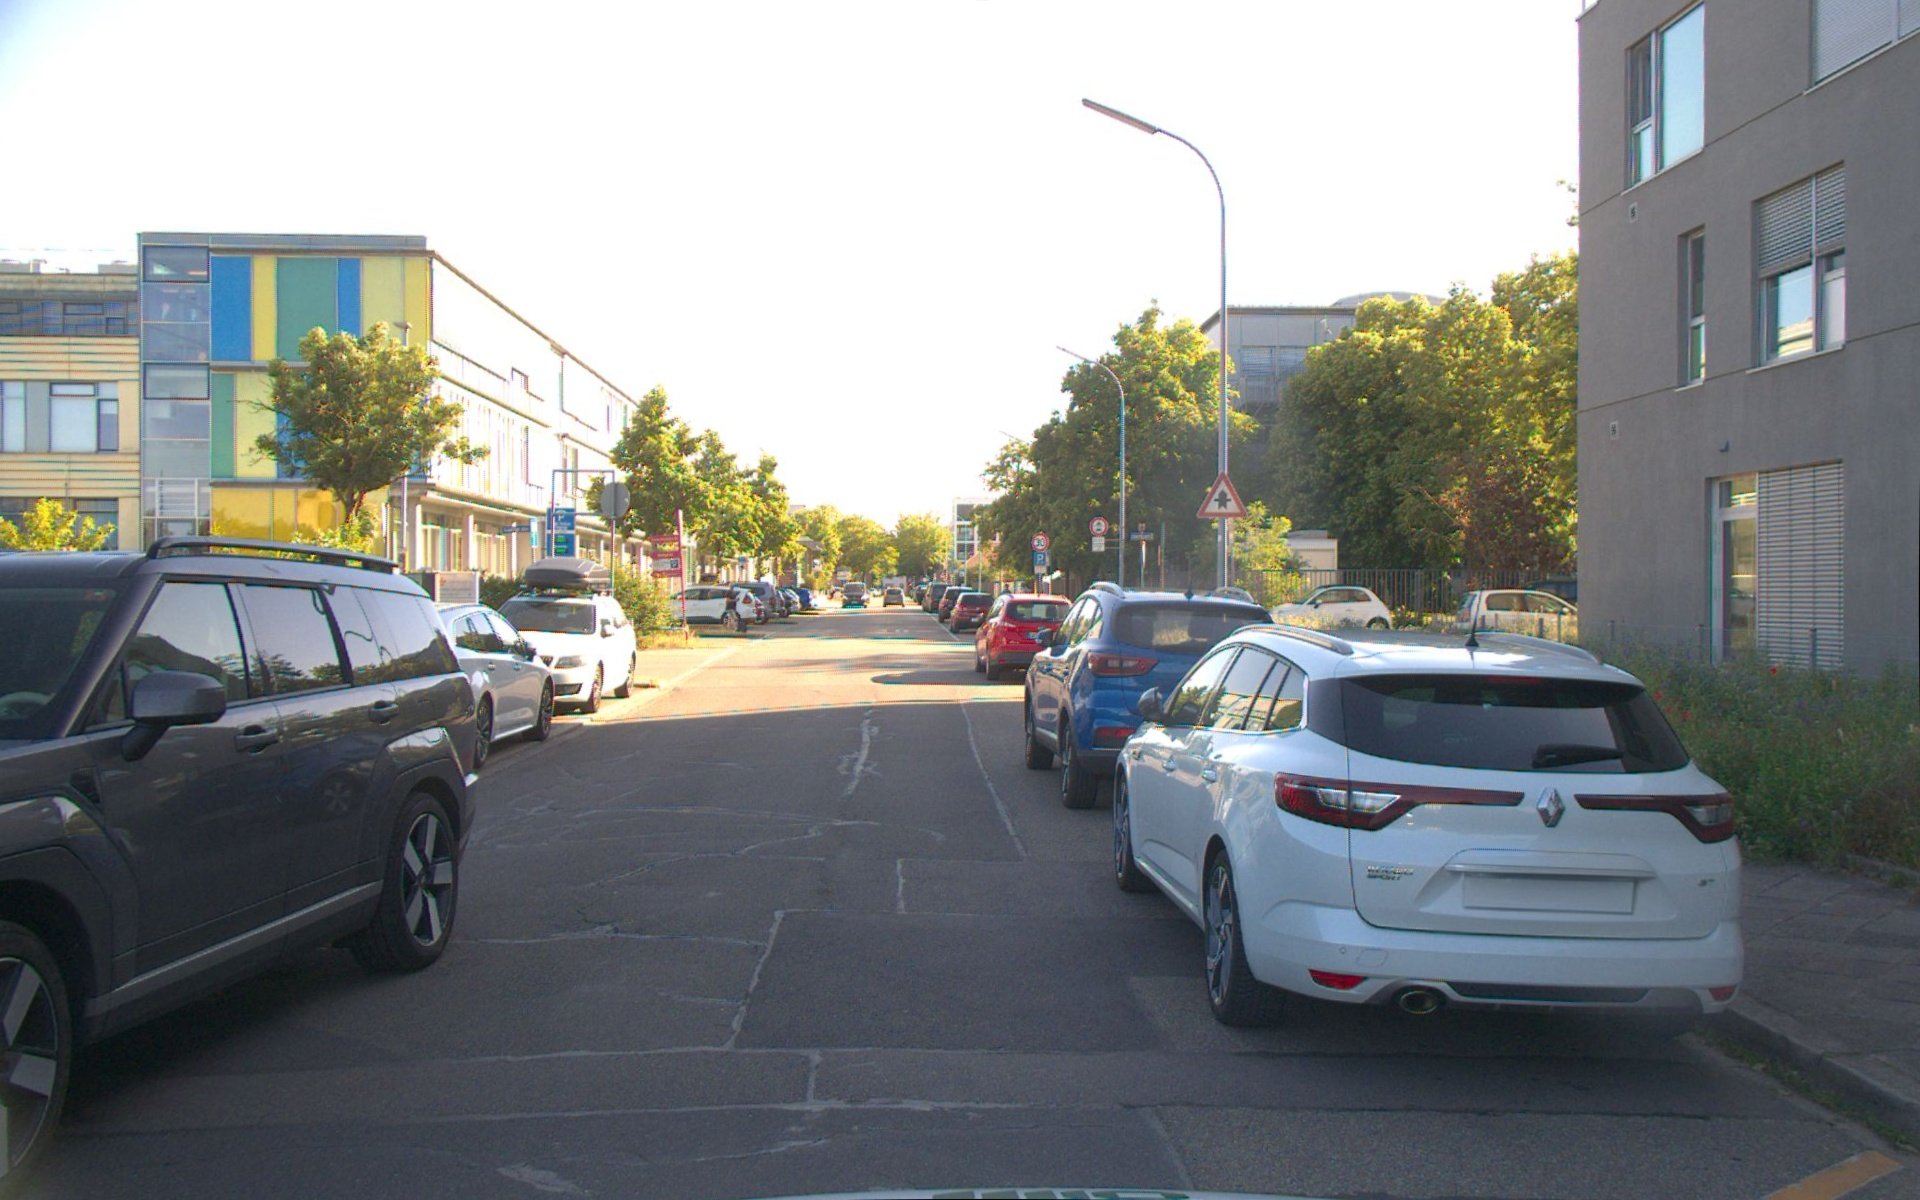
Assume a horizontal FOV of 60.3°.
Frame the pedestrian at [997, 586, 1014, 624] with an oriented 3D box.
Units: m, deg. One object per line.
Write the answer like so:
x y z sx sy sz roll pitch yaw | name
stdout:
2.182 0.222 79.530 0.703 1.788 0.884 -2 1 -2 | pedestrian

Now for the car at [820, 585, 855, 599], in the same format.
-14.055 -0.904 190.327 3.907 1.546 1.999 0 -1 -2 | car

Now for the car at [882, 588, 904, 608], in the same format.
-5.206 -0.156 128.962 1.708 1.570 3.998 0 0 -3 | car

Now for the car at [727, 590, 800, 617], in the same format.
-10.649 0.188 89.855 3.910 1.382 1.741 0 0 -6 | car

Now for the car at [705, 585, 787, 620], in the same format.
-10.461 0.115 81.047 3.910 1.635 1.869 1 0 -6 | car

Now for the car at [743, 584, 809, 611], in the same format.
-11.869 -0.144 106.742 4.133 1.631 1.869 1 0 -6 | car

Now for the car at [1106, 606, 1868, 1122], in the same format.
1.777 0.798 7.208 1.710 1.454 4.584 2 0 -2 | car

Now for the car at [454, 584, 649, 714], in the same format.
-5.414 0.589 22.462 1.662 1.540 4.515 2 0 -3 | car

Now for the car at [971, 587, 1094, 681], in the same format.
1.236 0.556 29.985 1.782 1.526 4.449 2 0 -3 | car

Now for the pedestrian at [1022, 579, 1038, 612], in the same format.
3.599 -0.227 85.403 0.684 1.690 0.751 -3 0 -3 | pedestrian

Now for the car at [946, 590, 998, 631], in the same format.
0.421 0.364 62.389 1.685 1.480 4.649 1 0 -3 | car

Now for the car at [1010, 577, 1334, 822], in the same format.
1.523 0.665 13.588 1.781 1.627 4.624 2 0 -3 | car

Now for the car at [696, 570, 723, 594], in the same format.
-21.932 -1.568 145.082 1.954 2.049 3.998 0 -1 -3 | car

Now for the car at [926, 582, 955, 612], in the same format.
-1.247 -0.201 103.337 1.698 1.862 3.904 0 0 -2 | car

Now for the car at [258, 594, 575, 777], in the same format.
-5.112 0.718 16.240 1.712 1.471 4.539 2 0 -2 | car

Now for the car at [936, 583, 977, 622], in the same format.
-0.195 0.096 78.410 1.775 1.695 4.591 1 1 -1 | car

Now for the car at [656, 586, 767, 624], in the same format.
-10.258 0.193 68.407 4.345 1.527 1.827 0 0 -2 | car

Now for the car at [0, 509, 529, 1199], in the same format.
-3.187 0.655 5.538 1.902 1.757 4.841 -1 0 4 | car

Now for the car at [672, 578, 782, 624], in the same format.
-10.394 0.033 74.018 4.647 1.897 1.827 1 0 -2 | car

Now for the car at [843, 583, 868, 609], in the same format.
-7.978 -0.297 126.141 1.916 1.900 5.251 0 0 -4 | car

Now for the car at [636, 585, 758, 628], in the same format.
-10.429 0.262 65.712 4.517 1.680 1.868 0 0 1 | car

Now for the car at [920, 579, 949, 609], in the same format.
-1.813 -0.426 115.806 1.837 2.013 3.998 -1 1 -3 | car

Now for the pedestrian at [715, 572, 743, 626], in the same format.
-8.138 -0.031 58.350 0.840 1.874 0.825 2 0 -1 | pedestrian

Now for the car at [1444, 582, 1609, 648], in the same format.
13.101 0.343 38.388 3.257 1.484 1.715 0 0 2 | car

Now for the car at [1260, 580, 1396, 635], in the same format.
10.316 0.207 46.509 3.475 1.512 1.600 0 0 -2 | car
